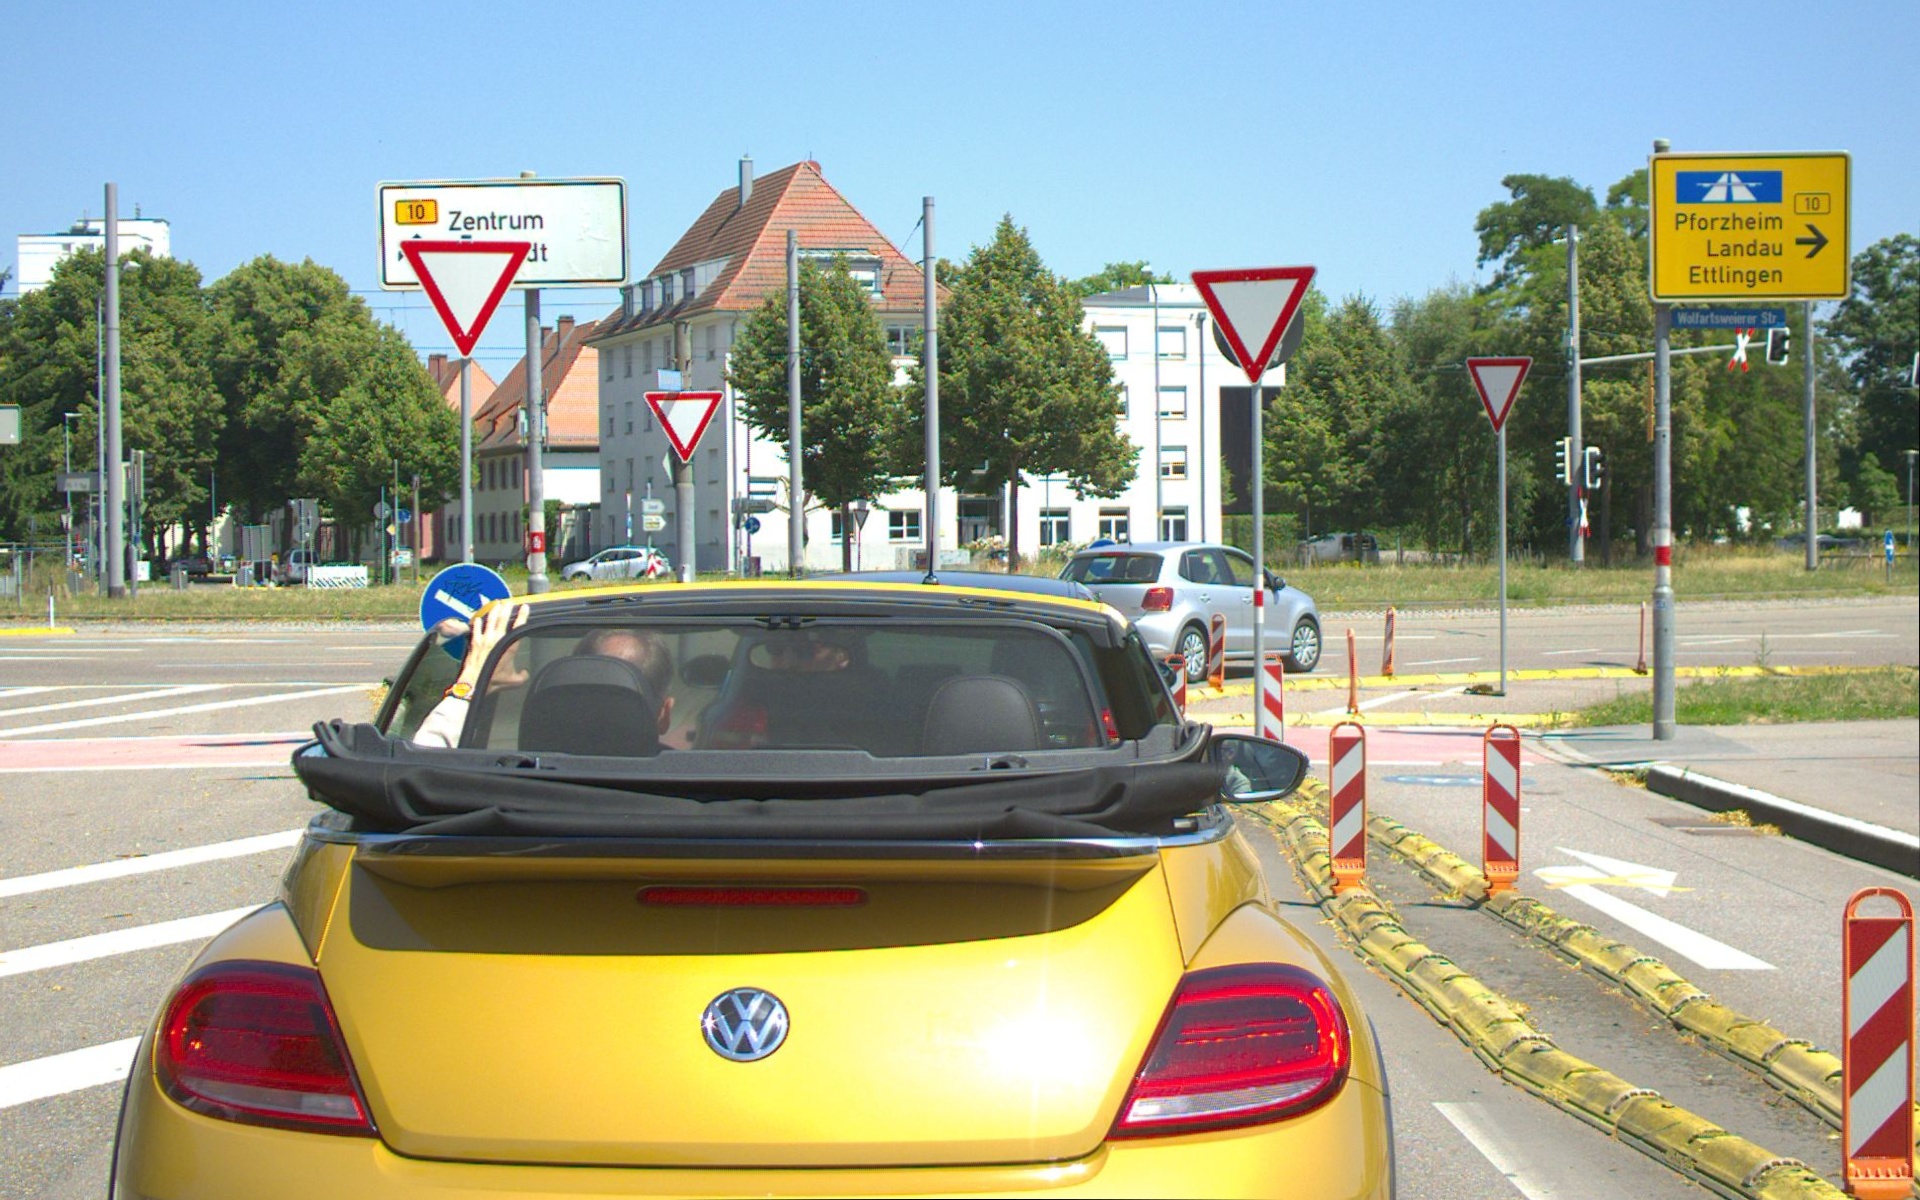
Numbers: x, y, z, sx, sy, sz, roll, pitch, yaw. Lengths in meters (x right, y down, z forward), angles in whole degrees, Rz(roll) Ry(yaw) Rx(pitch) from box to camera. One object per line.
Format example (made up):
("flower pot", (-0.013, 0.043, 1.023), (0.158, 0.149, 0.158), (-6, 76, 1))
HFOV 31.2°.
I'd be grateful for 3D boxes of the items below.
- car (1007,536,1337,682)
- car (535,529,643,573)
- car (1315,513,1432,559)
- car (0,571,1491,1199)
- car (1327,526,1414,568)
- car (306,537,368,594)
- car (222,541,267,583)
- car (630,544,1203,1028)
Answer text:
("car", (2.314, 0.062, 36.529), (1.779, 1.417, 3.993), (0, 1, 32))
("car", (-14.063, -1.857, 130.413), (3.986, 1.612, 2.000), (1, 0, -4))
("car", (15.821, -2.432, 131.743), (3.986, 1.678, 2.001), (1, 1, -13))
("car", (-0.307, 0.681, 5.918), (1.825, 1.398, 3.662), (0, 1, -1))
("car", (20.125, -2.581, 168.601), (3.990, 2.007, 1.999), (1, 0, 15))
("car", (-22.870, -1.271, 126.119), (1.993, 2.007, 4.001), (1, 1, -13))
("car", (-34.661, -1.839, 166.460), (1.993, 2.007, 4.001), (1, 1, -13))
("car", (-0.183, 0.554, 12.825), (1.797, 1.435, 4.001), (0, 2, -1))
